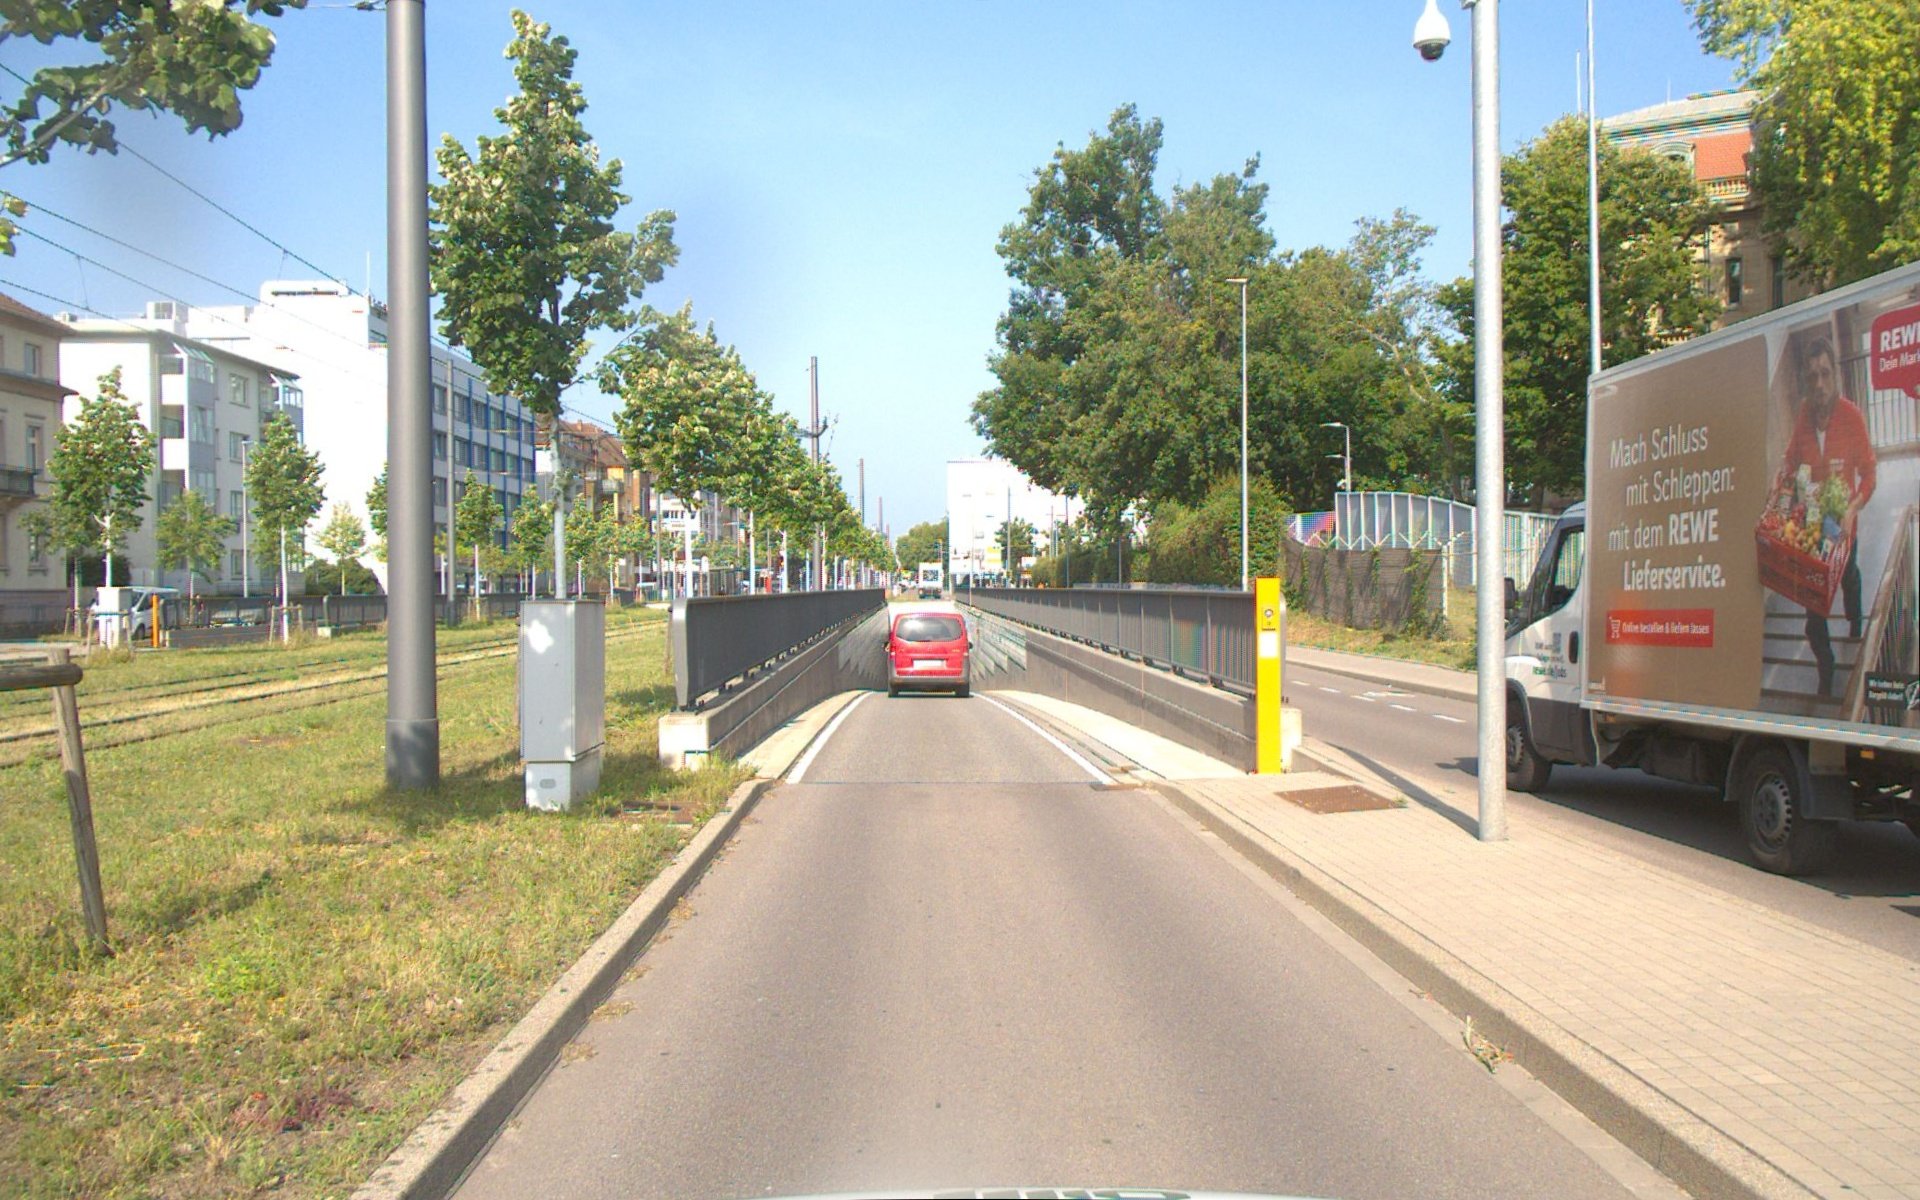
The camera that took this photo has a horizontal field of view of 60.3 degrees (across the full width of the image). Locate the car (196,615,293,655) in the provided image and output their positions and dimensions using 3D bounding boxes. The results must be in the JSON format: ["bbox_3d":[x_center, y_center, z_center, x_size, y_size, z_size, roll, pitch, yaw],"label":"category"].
[{"bbox_3d":[-28.231,1.373,65.417,1.953,1.492,4.436,0,-1,-1],"label":"car"}]

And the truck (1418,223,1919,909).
[{"bbox_3d":[5.482,-0.140,10.996,2.452,3.114,7.817,1,0,-2],"label":"truck"}]

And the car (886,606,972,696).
[{"bbox_3d":[-0.677,1.122,38.304,1.862,1.892,4.000,1,0,0],"label":"car"}]

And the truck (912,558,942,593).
[{"bbox_3d":[-3.792,-2.780,187.696,3.322,3.791,10.448,-1,0,-2],"label":"truck"}]

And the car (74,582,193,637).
[{"bbox_3d":[-32.607,0.421,65.443,2.204,2.049,5.260,1,-1,-3],"label":"car"}]
